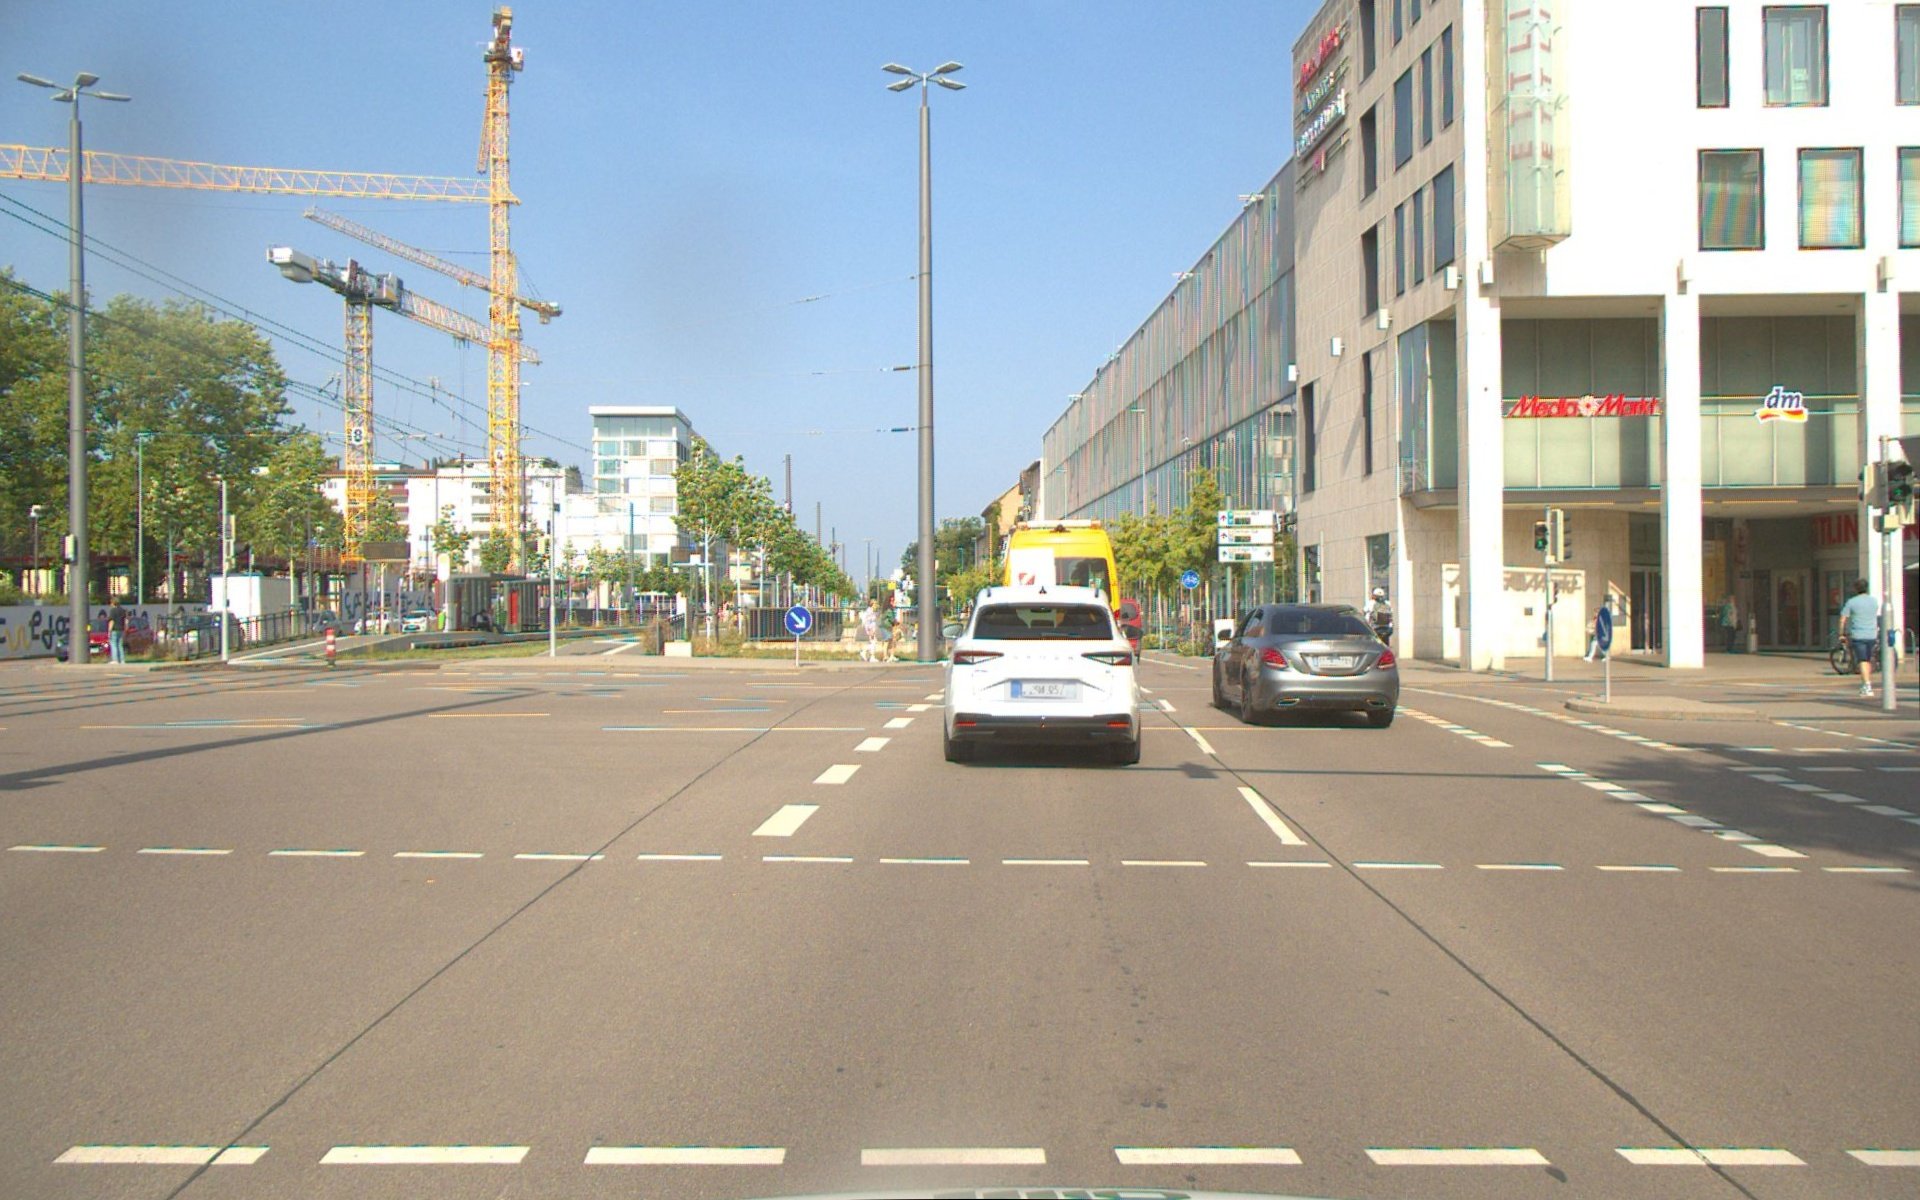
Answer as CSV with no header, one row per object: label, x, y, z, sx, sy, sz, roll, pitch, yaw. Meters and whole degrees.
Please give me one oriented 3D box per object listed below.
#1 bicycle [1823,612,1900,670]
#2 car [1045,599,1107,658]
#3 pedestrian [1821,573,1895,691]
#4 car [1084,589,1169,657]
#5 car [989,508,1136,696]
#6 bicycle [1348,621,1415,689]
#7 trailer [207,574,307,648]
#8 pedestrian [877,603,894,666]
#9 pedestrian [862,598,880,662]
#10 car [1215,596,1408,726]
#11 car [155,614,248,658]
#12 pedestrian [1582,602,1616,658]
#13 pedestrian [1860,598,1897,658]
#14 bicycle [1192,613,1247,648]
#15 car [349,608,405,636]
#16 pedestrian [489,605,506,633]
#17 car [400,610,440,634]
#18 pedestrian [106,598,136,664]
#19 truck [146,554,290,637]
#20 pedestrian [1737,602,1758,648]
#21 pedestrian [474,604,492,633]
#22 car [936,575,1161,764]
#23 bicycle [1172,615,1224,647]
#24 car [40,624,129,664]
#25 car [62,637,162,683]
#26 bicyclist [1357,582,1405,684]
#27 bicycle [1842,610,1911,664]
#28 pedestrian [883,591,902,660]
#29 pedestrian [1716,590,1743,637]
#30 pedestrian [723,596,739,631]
bicycle,20.476,0.918,37.628,0.600,1.259,2.070,-1,0,0
car,3.909,0.956,56.076,1.675,1.895,3.792,1,-1,-2
pedestrian,13.534,0.475,24.954,0.629,1.741,0.990,-1,0,6
car,4.857,0.651,48.824,1.911,1.882,4.433,-1,0,-2
car,1.610,0.010,27.883,1.979,2.845,5.399,0,0,-2
bicycle,7.474,0.959,29.411,0.647,1.137,2.051,-1,0,0
trailer,-28.093,0.442,66.301,2.004,2.829,5.018,1,-1,-3
pedestrian,-2.000,0.923,44.500,0.458,1.679,0.777,0,0,-3
pedestrian,-2.333,0.781,43.457,0.458,1.679,0.777,0,0,-3
car,4.295,0.699,20.810,1.723,1.461,4.116,-1,0,3
car,-27.636,1.289,60.414,1.610,1.495,4.400,-1,0,-4
pedestrian,17.623,0.828,45.614,0.693,1.513,0.604,-1,0,0
pedestrian,21.367,0.649,38.485,0.502,1.380,0.547,0,-1,-9
bicycle,8.936,1.047,56.997,1.802,1.132,0.687,1,0,-1
car,-34.128,1.276,96.900,1.756,1.609,4.614,-1,0,-2
pedestrian,-22.098,0.908,79.036,0.667,1.322,0.592,-1,0,-6
car,-34.403,1.404,105.411,1.564,1.489,3.432,-1,0,-2
pedestrian,-21.768,0.808,42.935,0.362,1.705,0.640,-1,0,14
truck,-34.712,-0.205,77.780,2.960,3.649,8.887,-1,0,-2
pedestrian,23.371,0.739,49.059,0.384,1.364,0.455,0,0,-2
pedestrian,-21.962,0.837,76.202,0.667,1.322,0.592,-1,0,-6
car,0.731,0.595,16.217,1.832,1.602,3.998,-1,0,-2
bicycle,8.795,1.142,61.170,1.840,1.129,0.490,-1,0,-1
car,-32.812,1.617,62.112,1.566,1.370,4.415,-1,0,-9
car,-27.649,1.936,54.033,1.688,1.385,3.693,0,0,-6
bicyclist,7.471,0.580,29.361,0.638,1.779,0.769,-1,0,0
bicycle,21.127,0.837,38.159,0.490,1.220,1.792,0,0,-3
pedestrian,-1.673,0.625,41.061,0.458,1.679,0.777,0,0,-3
pedestrian,23.332,0.406,50.145,0.553,1.408,0.492,0,0,-8
pedestrian,-10.922,0.655,78.830,0.721,1.647,0.710,0,-1,-3
